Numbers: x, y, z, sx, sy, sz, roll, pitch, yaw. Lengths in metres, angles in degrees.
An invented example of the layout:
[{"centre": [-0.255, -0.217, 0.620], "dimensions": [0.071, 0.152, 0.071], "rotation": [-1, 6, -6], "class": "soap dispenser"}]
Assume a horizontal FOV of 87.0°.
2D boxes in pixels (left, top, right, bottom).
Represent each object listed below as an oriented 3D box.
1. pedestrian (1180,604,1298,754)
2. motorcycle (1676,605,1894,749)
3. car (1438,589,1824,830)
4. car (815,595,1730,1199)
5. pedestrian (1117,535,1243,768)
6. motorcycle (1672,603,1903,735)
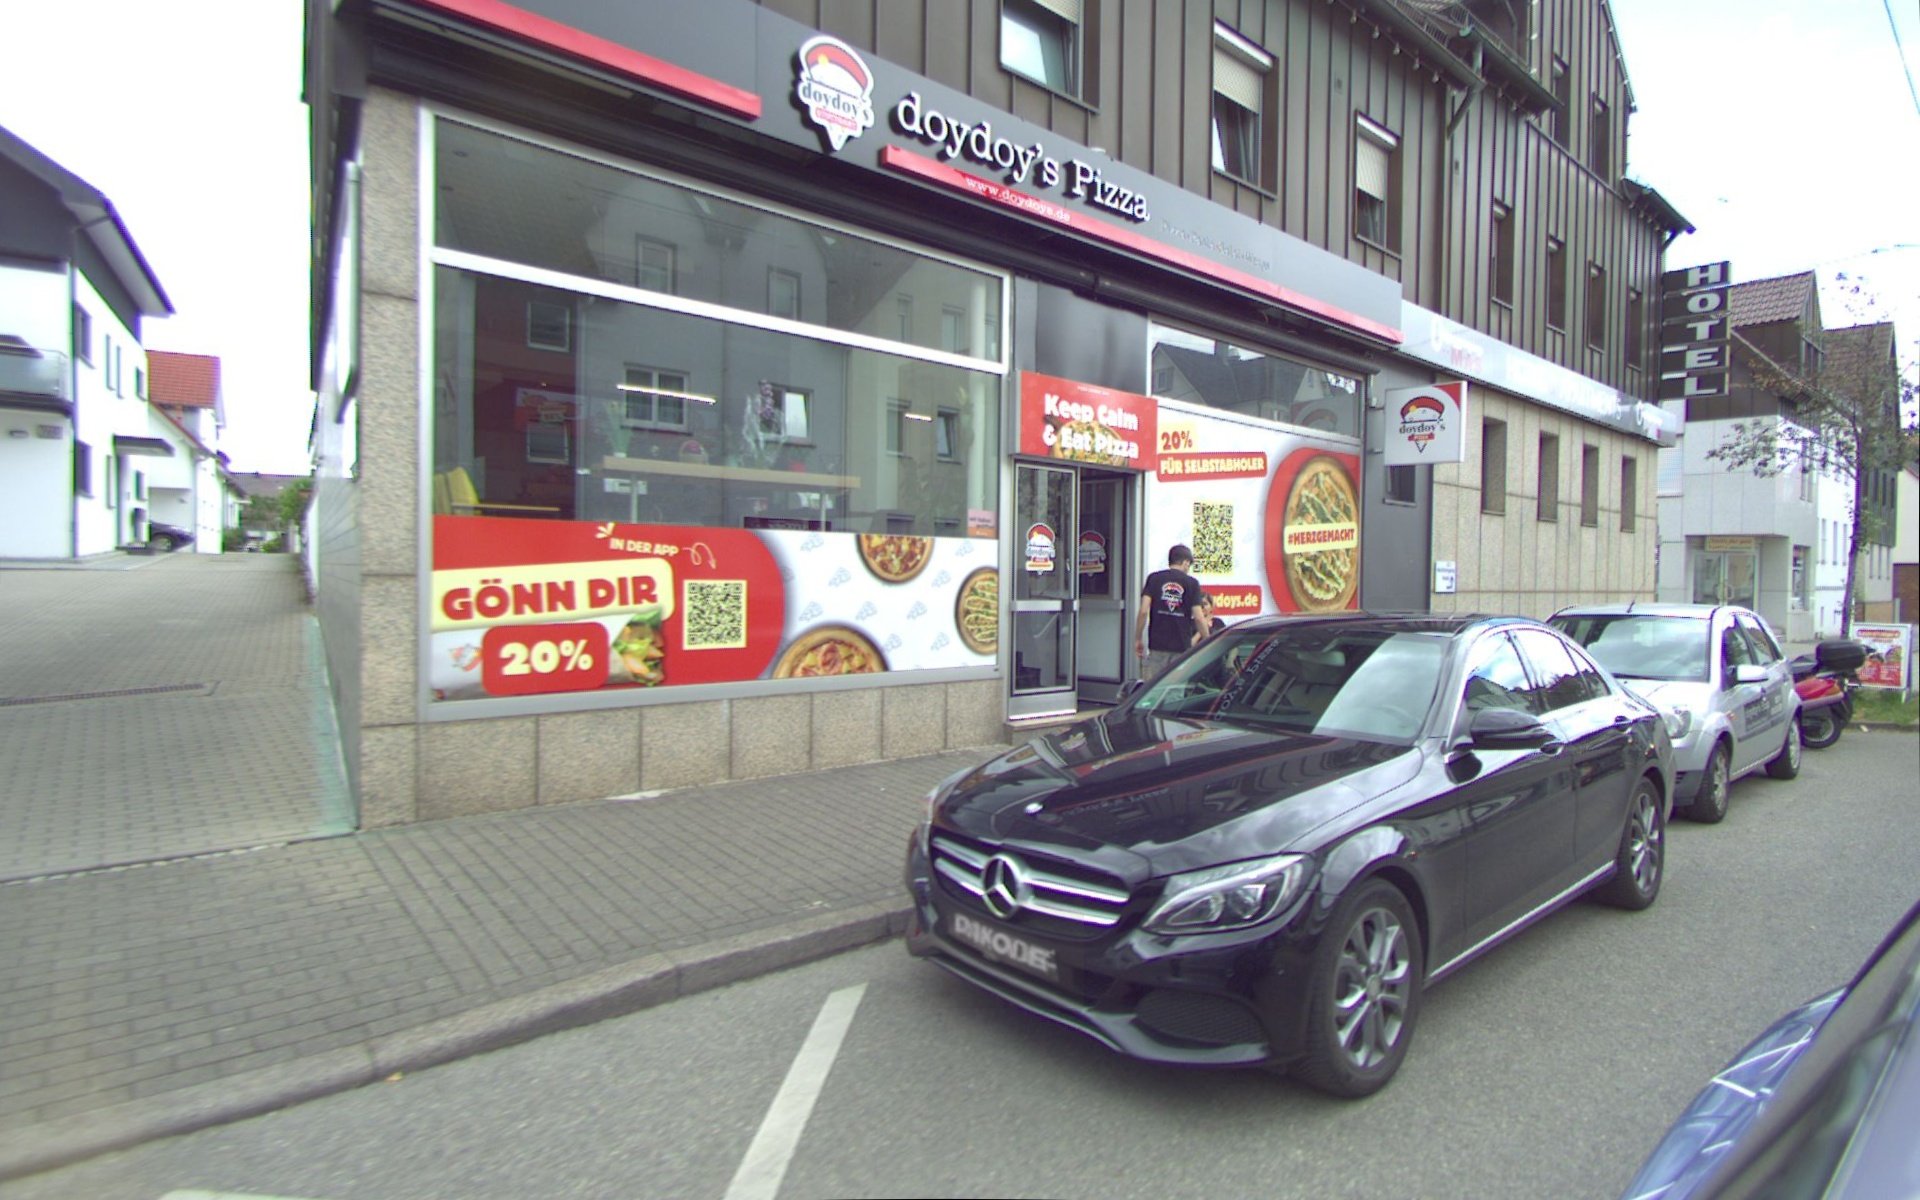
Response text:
[{"centre": [2.477, 0.668, 9.002], "dimensions": [0.632, 1.226, 0.741], "rotation": [0, 3, -41], "class": "pedestrian"}, {"centre": [8.131, 0.729, 10.039], "dimensions": [1.567, 1.308, 0.498], "rotation": [1, 1, 21], "class": "motorcycle"}, {"centre": [5.509, 0.662, 8.125], "dimensions": [3.835, 1.459, 1.643], "rotation": [0, 1, -41], "class": "car"}, {"centre": [1.749, 0.711, 4.513], "dimensions": [4.486, 1.426, 1.828], "rotation": [0, 1, -41], "class": "car"}, {"centre": [1.772, 0.379, 8.147], "dimensions": [0.642, 1.761, 0.730], "rotation": [4, 3, 44], "class": "pedestrian"}, {"centre": [8.783, 0.711, 10.801], "dimensions": [1.842, 1.308, 0.530], "rotation": [1, 1, 12], "class": "motorcycle"}]
